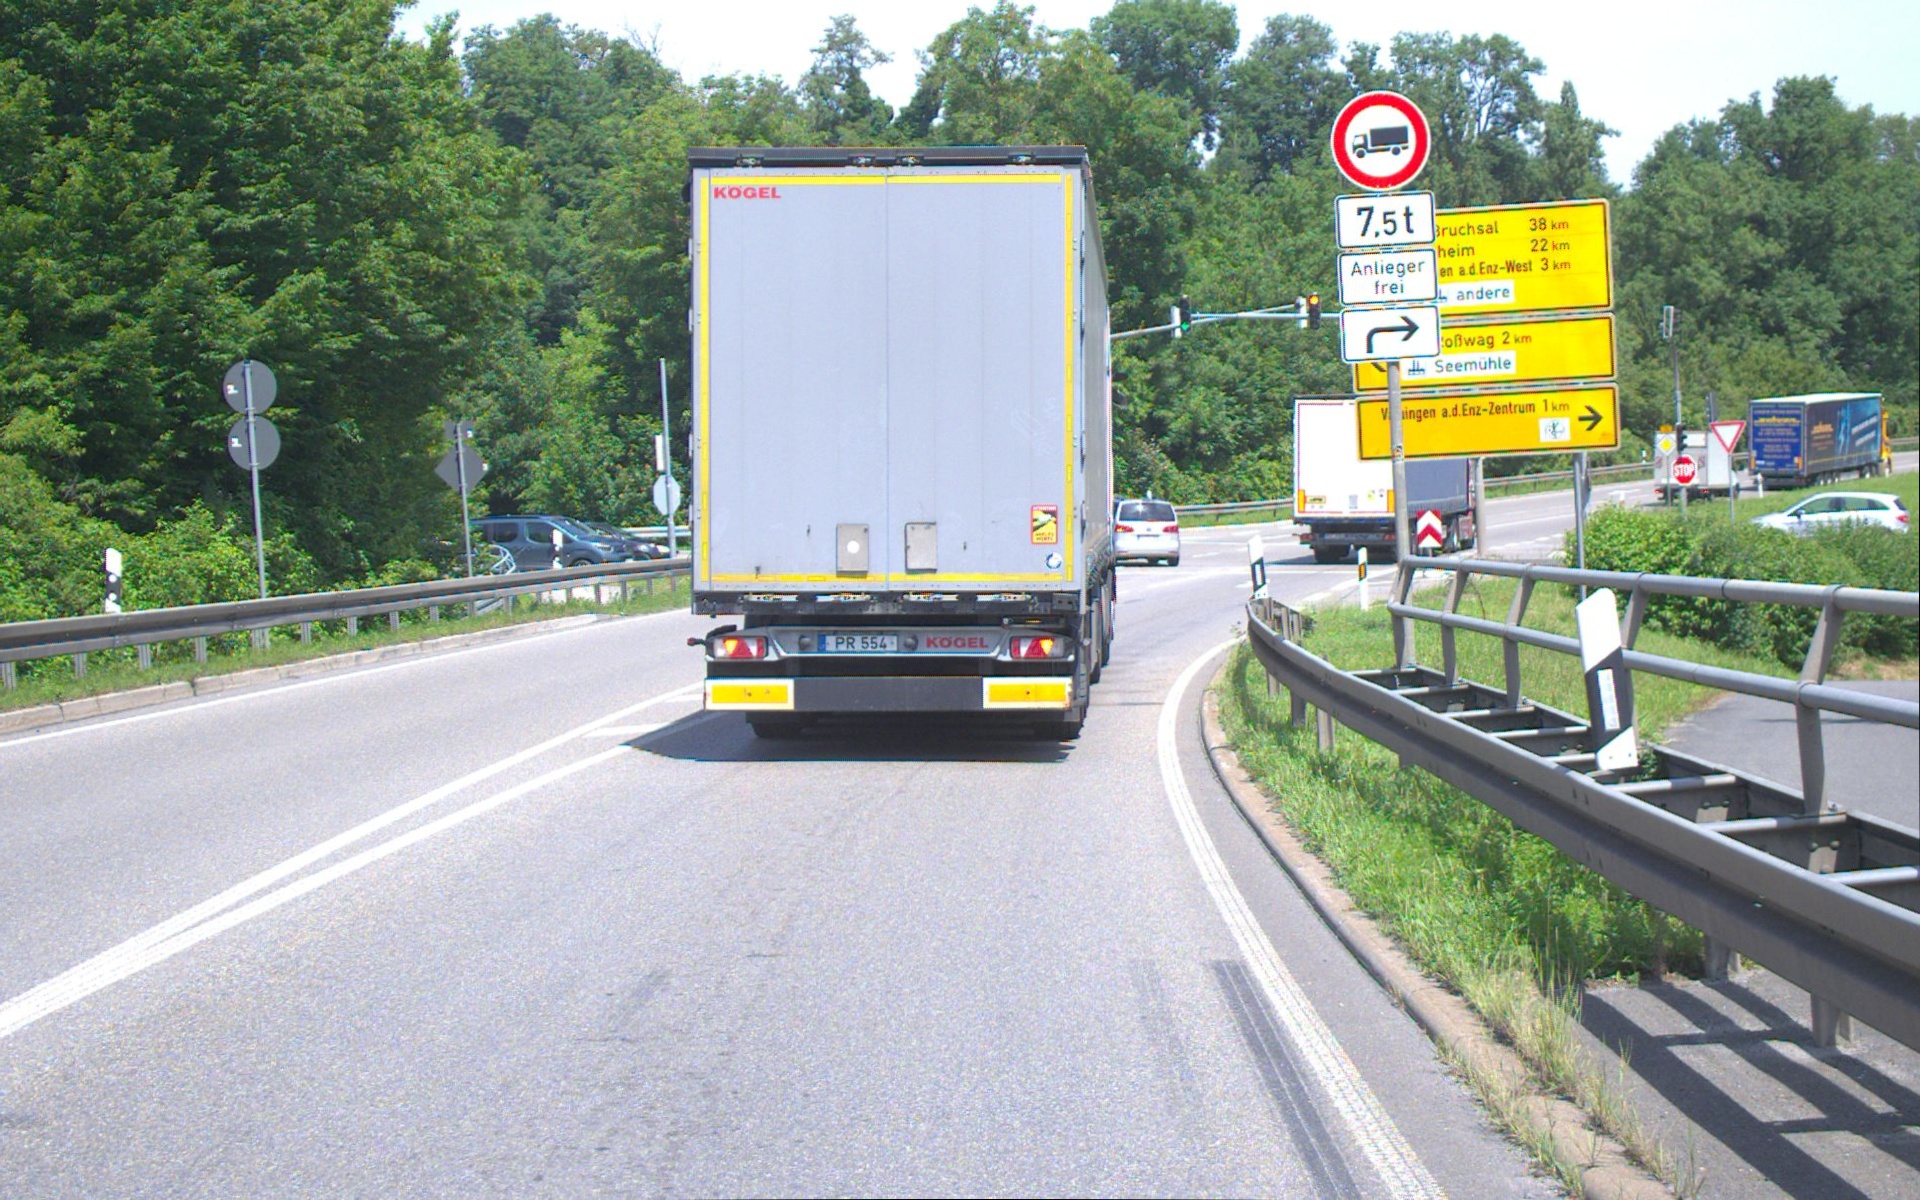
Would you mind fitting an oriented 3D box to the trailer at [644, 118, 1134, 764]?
[{"bbox_3d":[-0.230,-1.123,27.806,3.052,4.020,12.558,0,1,2],"label":"trailer"}]

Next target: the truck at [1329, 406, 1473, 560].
[{"bbox_3d":[11.892,-3.082,92.363,3.171,3.990,5.811,0,1,14],"label":"truck"}]

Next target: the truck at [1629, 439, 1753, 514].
[{"bbox_3d":[29.786,-5.022,139.829,2.860,2.937,7.093,1,2,30],"label":"truck"}]

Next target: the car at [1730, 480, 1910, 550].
[{"bbox_3d":[22.147,-2.185,88.633,4.430,1.712,1.999,1,0,14],"label":"car"}]

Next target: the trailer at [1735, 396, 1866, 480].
[{"bbox_3d":[37.966,-7.239,155.071,3.257,3.672,9.236,1,2,30],"label":"trailer"}]

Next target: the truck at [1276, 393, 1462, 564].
[{"bbox_3d":[10.465,-2.967,86.817,3.181,4.015,11.738,0,1,14],"label":"truck"}]

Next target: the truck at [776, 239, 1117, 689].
[{"bbox_3d":[-0.006,-1.288,34.155,3.038,4.020,6.629,0,1,2],"label":"truck"}]

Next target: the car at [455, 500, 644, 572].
[{"bbox_3d":[-10.246,-1.595,85.824,4.237,1.764,1.998,0,1,18],"label":"car"}]

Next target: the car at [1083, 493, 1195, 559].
[{"bbox_3d":[4.366,-1.782,83.408,1.995,1.514,3.997,1,0,13],"label":"car"}]
